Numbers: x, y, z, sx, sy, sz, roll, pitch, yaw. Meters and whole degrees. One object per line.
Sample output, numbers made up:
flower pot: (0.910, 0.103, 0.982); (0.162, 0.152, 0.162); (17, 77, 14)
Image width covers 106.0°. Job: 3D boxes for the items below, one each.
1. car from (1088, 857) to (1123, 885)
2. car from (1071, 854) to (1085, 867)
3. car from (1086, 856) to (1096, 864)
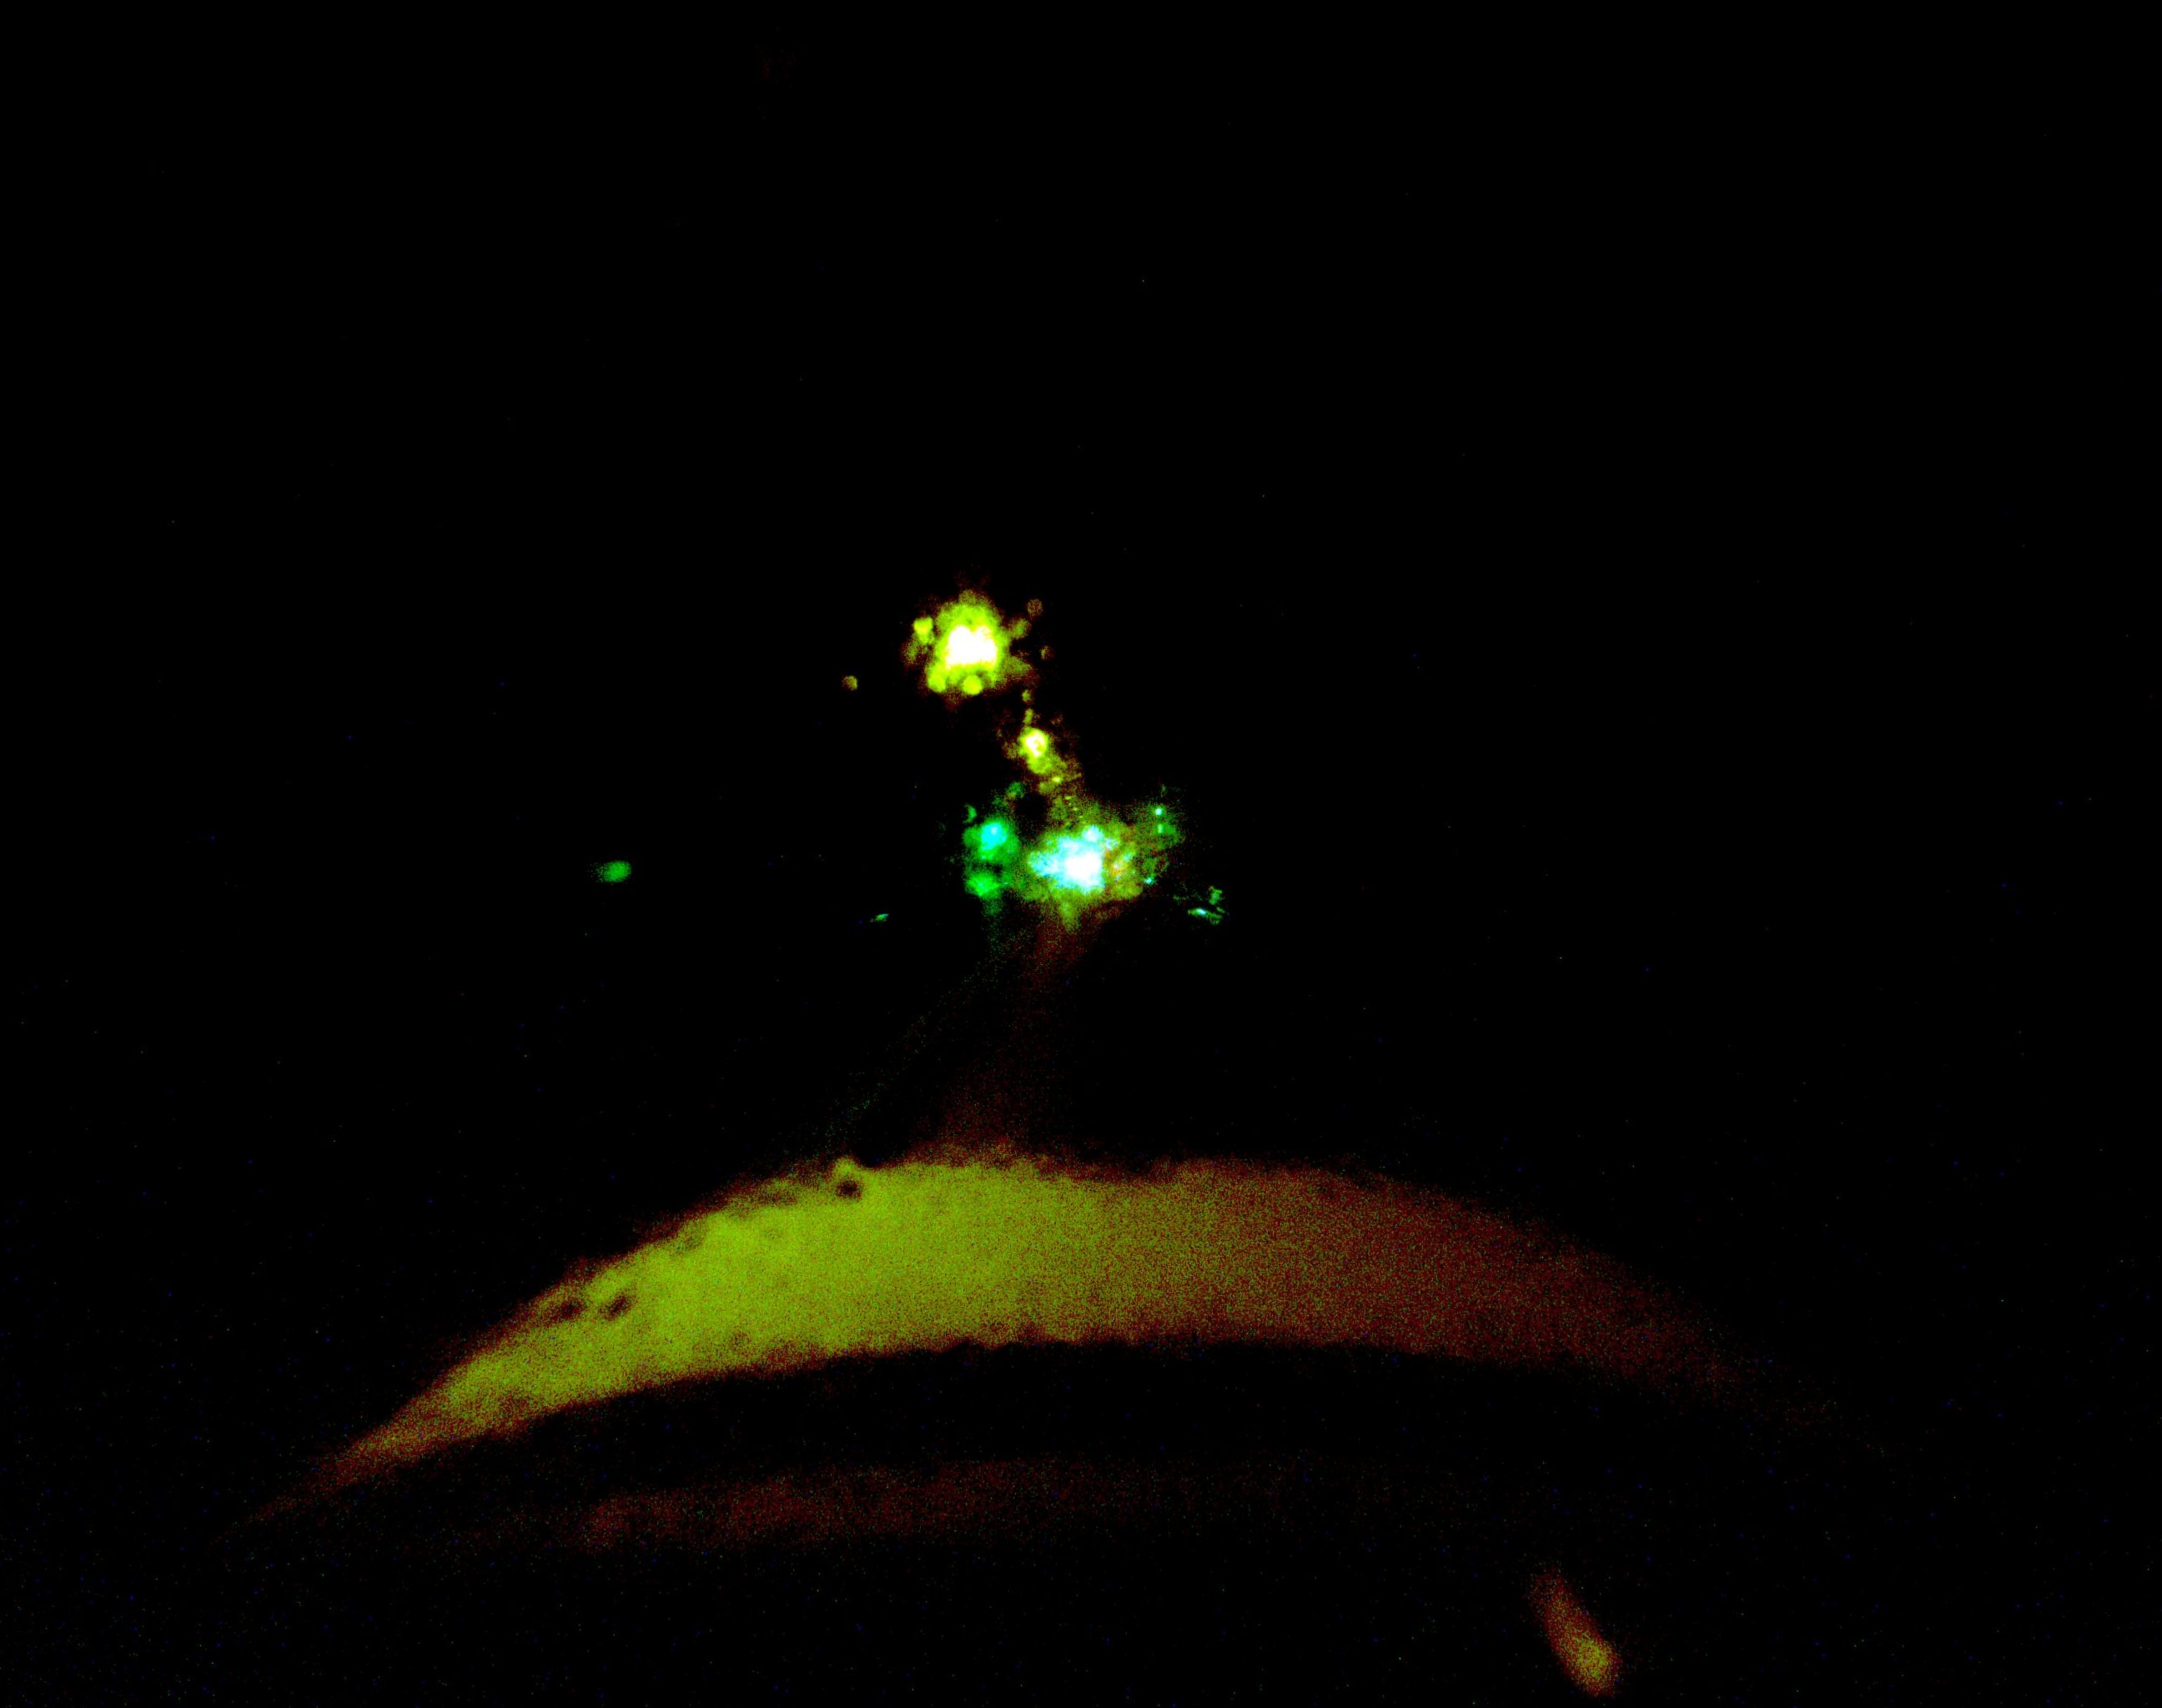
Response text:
car: (1.520, 1.054, 51.666); (2.082, 1.662, 4.001); (-2, -1, 1)
car: (-0.360, 0.807, 102.624); (1.685, 1.505, 3.745); (-2, 0, 1)
car: (1.865, 1.147, 151.233); (1.704, 1.462, 3.576); (-3, 0, 2)
